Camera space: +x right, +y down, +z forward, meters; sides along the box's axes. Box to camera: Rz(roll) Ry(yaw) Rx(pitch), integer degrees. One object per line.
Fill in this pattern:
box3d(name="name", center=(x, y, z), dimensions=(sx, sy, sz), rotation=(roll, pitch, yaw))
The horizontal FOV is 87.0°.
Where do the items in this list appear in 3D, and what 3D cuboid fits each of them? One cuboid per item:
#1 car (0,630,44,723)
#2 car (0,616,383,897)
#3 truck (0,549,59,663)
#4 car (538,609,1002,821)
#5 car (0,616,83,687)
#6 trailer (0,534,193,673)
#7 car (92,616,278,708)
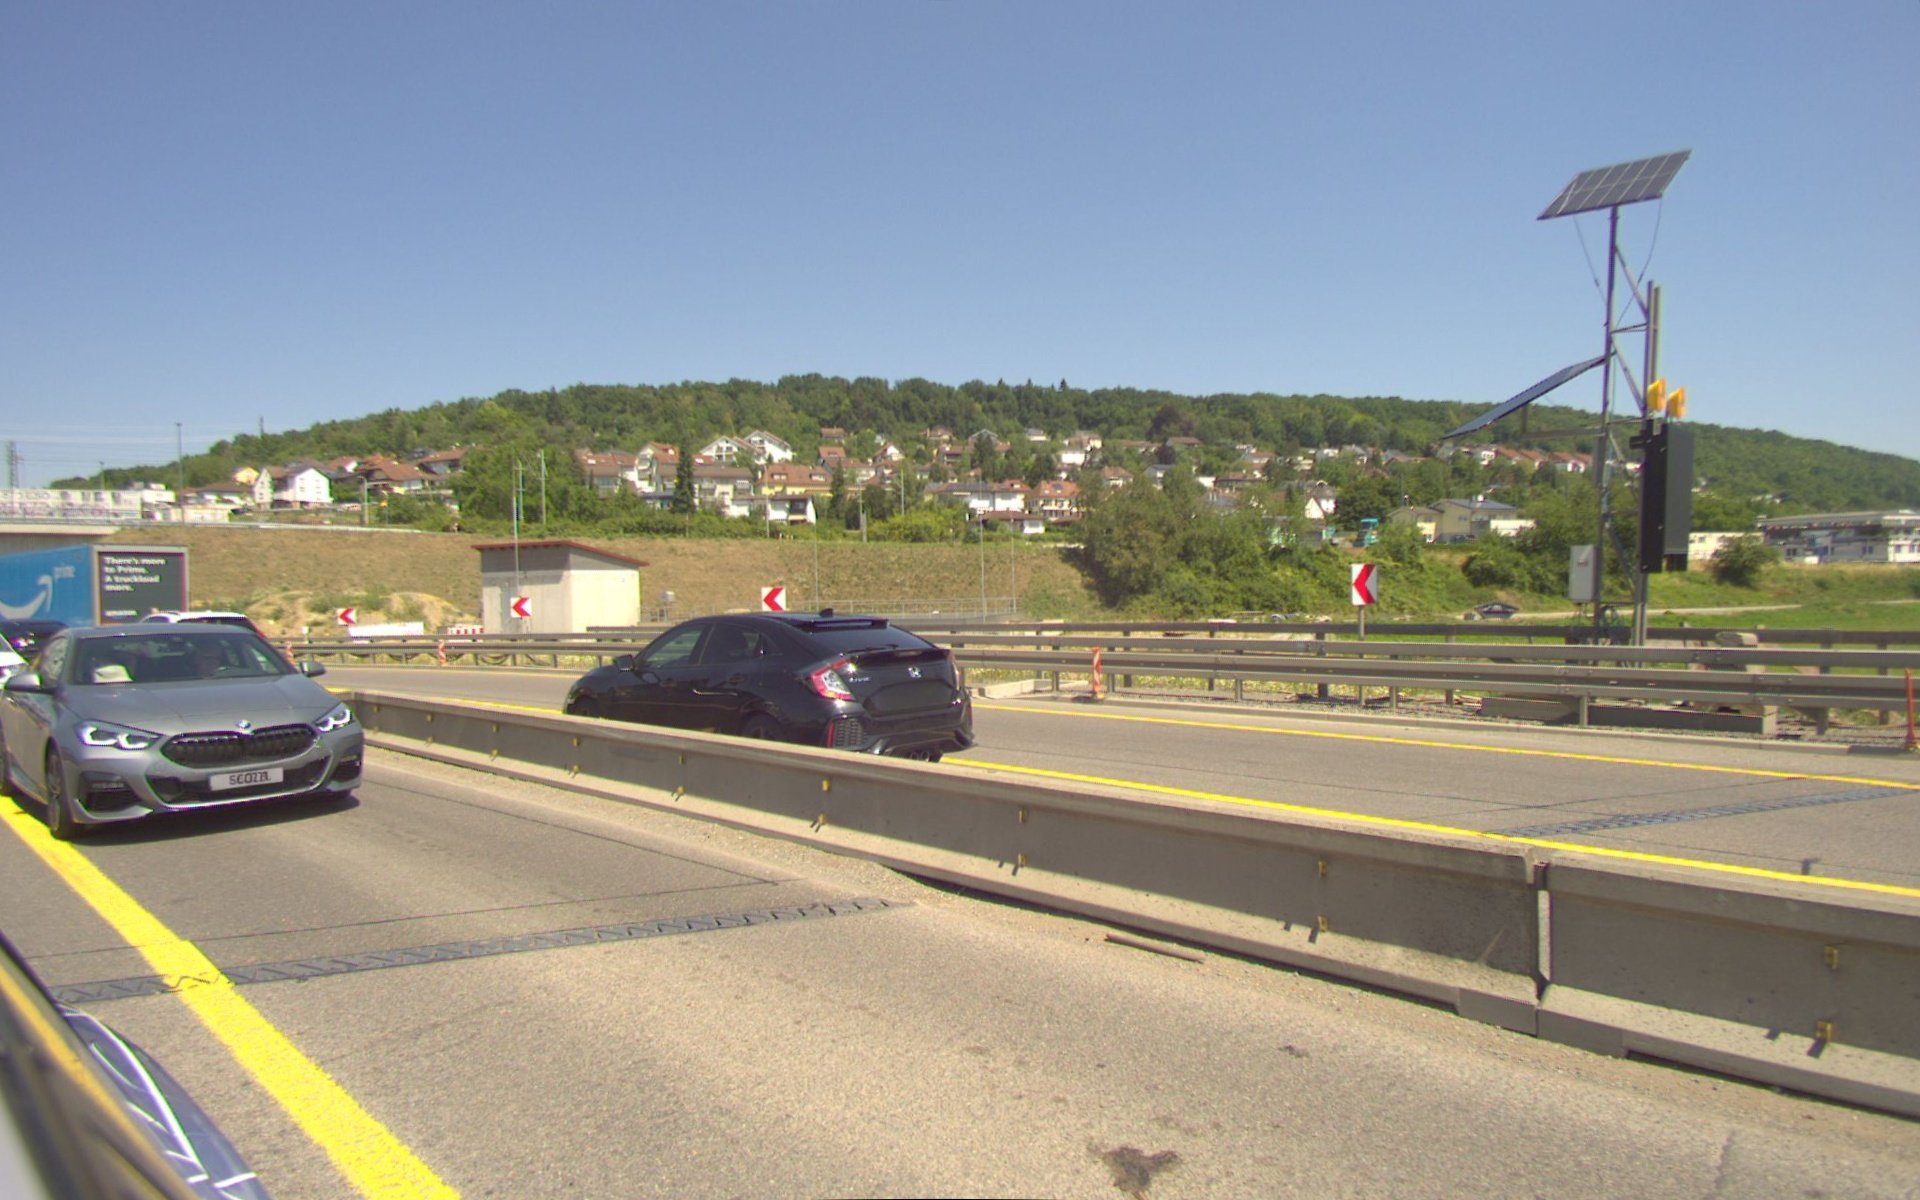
box3d(name="car", center=(-17.888, 1.324, 17.881), dimensions=(4.384, 1.484, 1.816), rotation=(-1, 1, 38))
box3d(name="car", center=(-6.412, 0.972, 8.132), dimensions=(4.389, 1.609, 1.814), rotation=(-1, 0, 42))
box3d(name="truck", center=(-38.142, 0.234, 39.860), dimensions=(4.716, 4.302, 2.606), rotation=(-1, 1, 32))
box3d(name="car", center=(-1.875, 0.826, 8.938), dimensions=(4.439, 1.375, 1.651), rotation=(-2, 0, 42))
box3d(name="car", center=(-26.151, 1.349, 27.885), dimensions=(4.703, 1.659, 1.865), rotation=(1, 2, 34))
box3d(name="trailer", center=(-31.838, 0.152, 35.950), dimensions=(13.263, 4.324, 2.628), rotation=(-1, 1, 32))
box3d(name="car", center=(-16.190, 1.289, 21.069), dimensions=(4.560, 1.659, 1.804), rotation=(-4, -1, 36))
